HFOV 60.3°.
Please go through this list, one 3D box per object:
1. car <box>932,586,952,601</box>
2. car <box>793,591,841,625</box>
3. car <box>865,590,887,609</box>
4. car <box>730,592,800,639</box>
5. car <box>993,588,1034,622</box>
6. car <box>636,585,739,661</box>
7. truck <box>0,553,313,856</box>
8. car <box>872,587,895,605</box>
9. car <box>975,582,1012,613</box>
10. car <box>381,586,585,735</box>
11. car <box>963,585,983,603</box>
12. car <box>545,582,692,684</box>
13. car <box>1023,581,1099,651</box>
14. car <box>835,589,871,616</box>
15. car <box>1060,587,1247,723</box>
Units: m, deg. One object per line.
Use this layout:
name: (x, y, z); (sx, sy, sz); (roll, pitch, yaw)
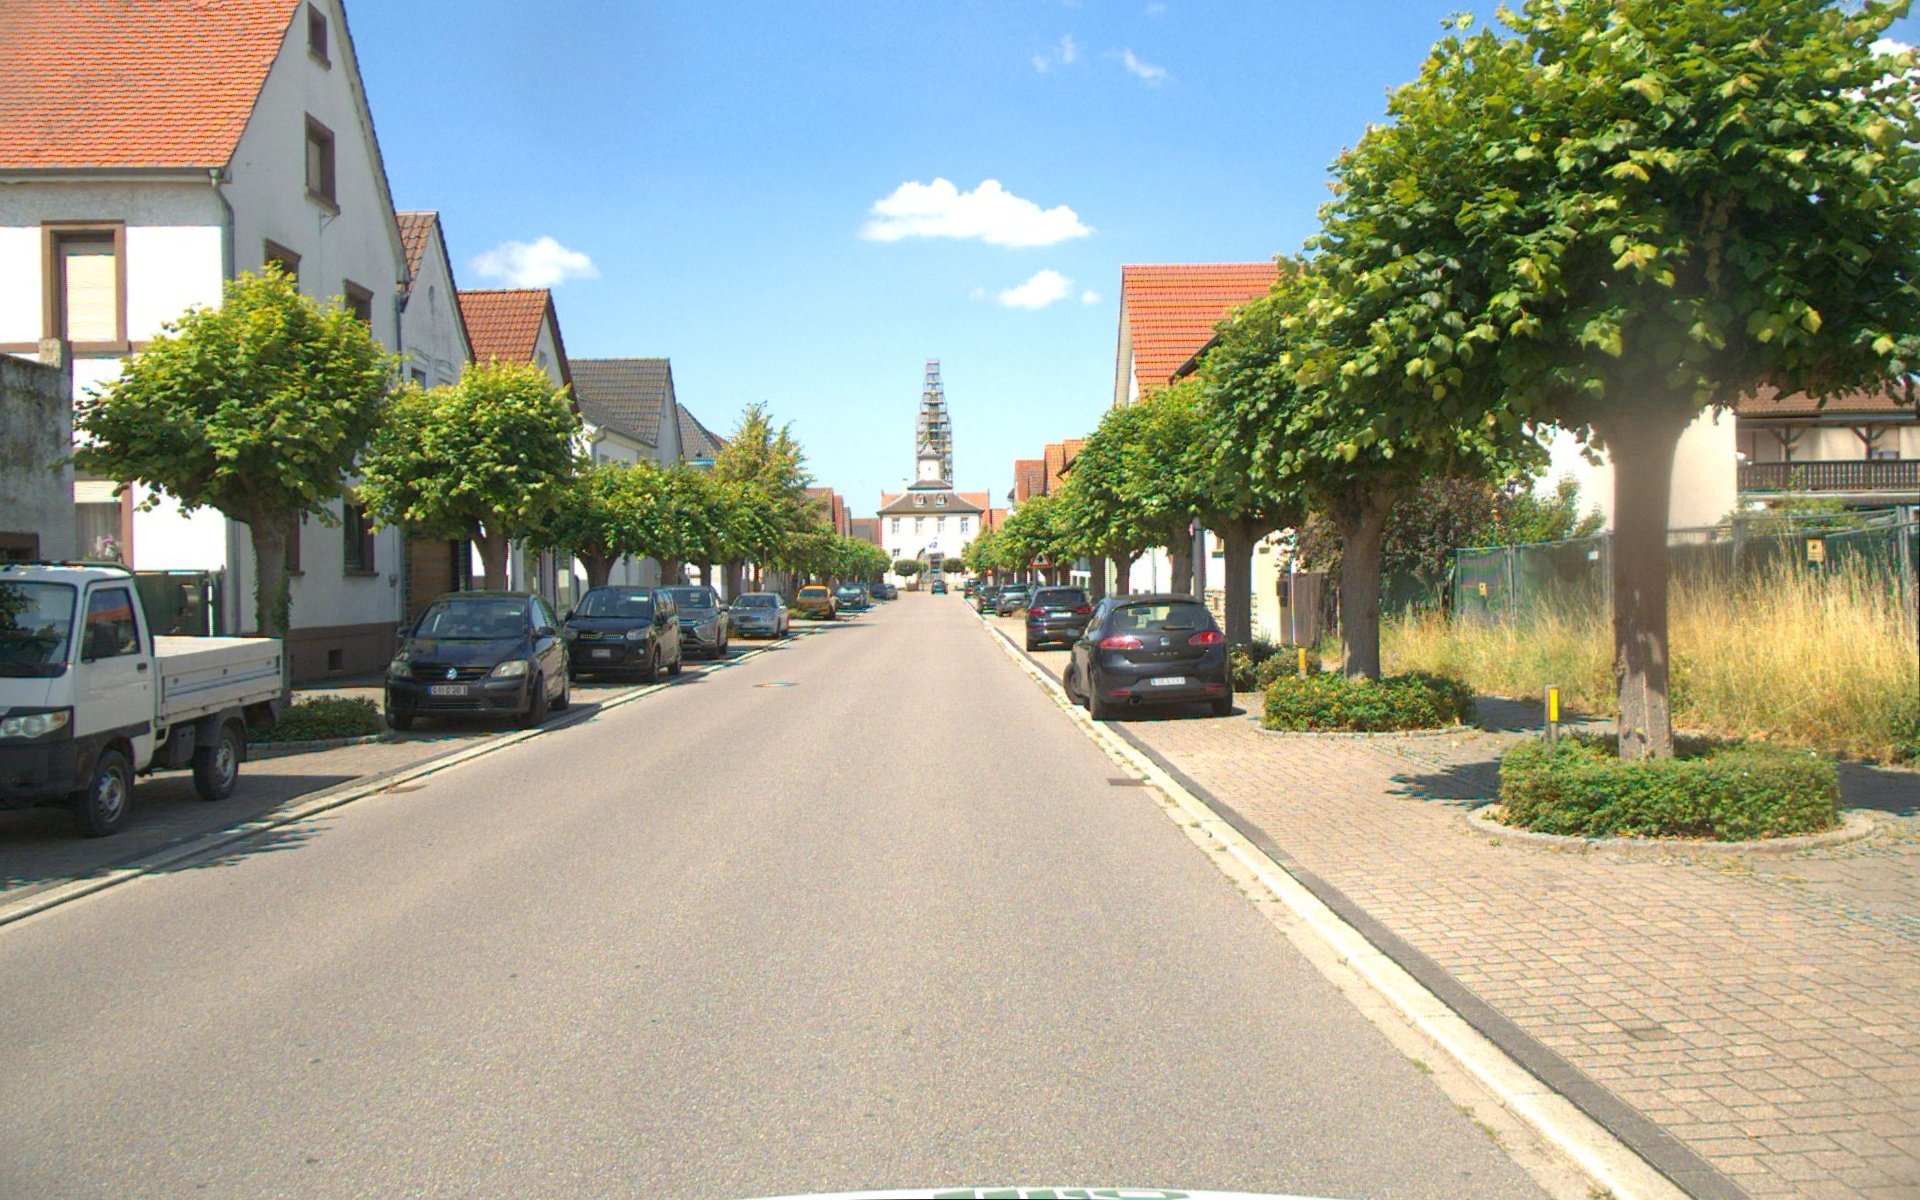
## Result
car: (-1.910, -0.737, 178.708); (1.693, 1.574, 3.458); (1, 0, 6)
car: (-7.145, 0.376, 82.912); (1.952, 1.639, 4.689); (1, 0, 0)
car: (-7.498, -0.065, 147.397); (1.721, 1.582, 4.020); (-1, 0, 0)
car: (-6.212, 0.463, 53.033); (1.803, 1.420, 4.405); (0, 0, -1)
car: (2.660, 0.236, 82.790); (1.800, 1.636, 3.998); (-1, 0, -2)
car: (-6.314, 0.495, 38.744); (1.954, 1.681, 4.364); (1, 0, -4)
truck: (-6.247, 0.604, 11.899); (1.544, 1.796, 4.191); (1, 0, -1)
car: (-7.066, -0.354, 153.146); (1.952, 1.639, 3.855); (1, 0, 0)
car: (1.808, -0.154, 90.355); (1.800, 1.582, 4.313); (-3, 0, -1)
car: (-5.797, 0.673, 20.550); (1.751, 1.662, 3.995); (0, 0, -6)
car: (1.206, -0.574, 153.196); (1.800, 1.582, 4.313); (-3, 0, 0)
car: (-6.021, 0.558, 29.609); (1.815, 1.664, 4.056); (1, 0, -1)
car: (2.575, 0.373, 42.252); (1.786, 1.613, 4.059); (-2, 1, 3)
car: (-6.738, 0.139, 104.435); (1.952, 1.639, 4.689); (0, 1, 0)
car: (2.351, 0.619, 21.054); (1.787, 1.457, 4.056); (-3, 1, -1)
